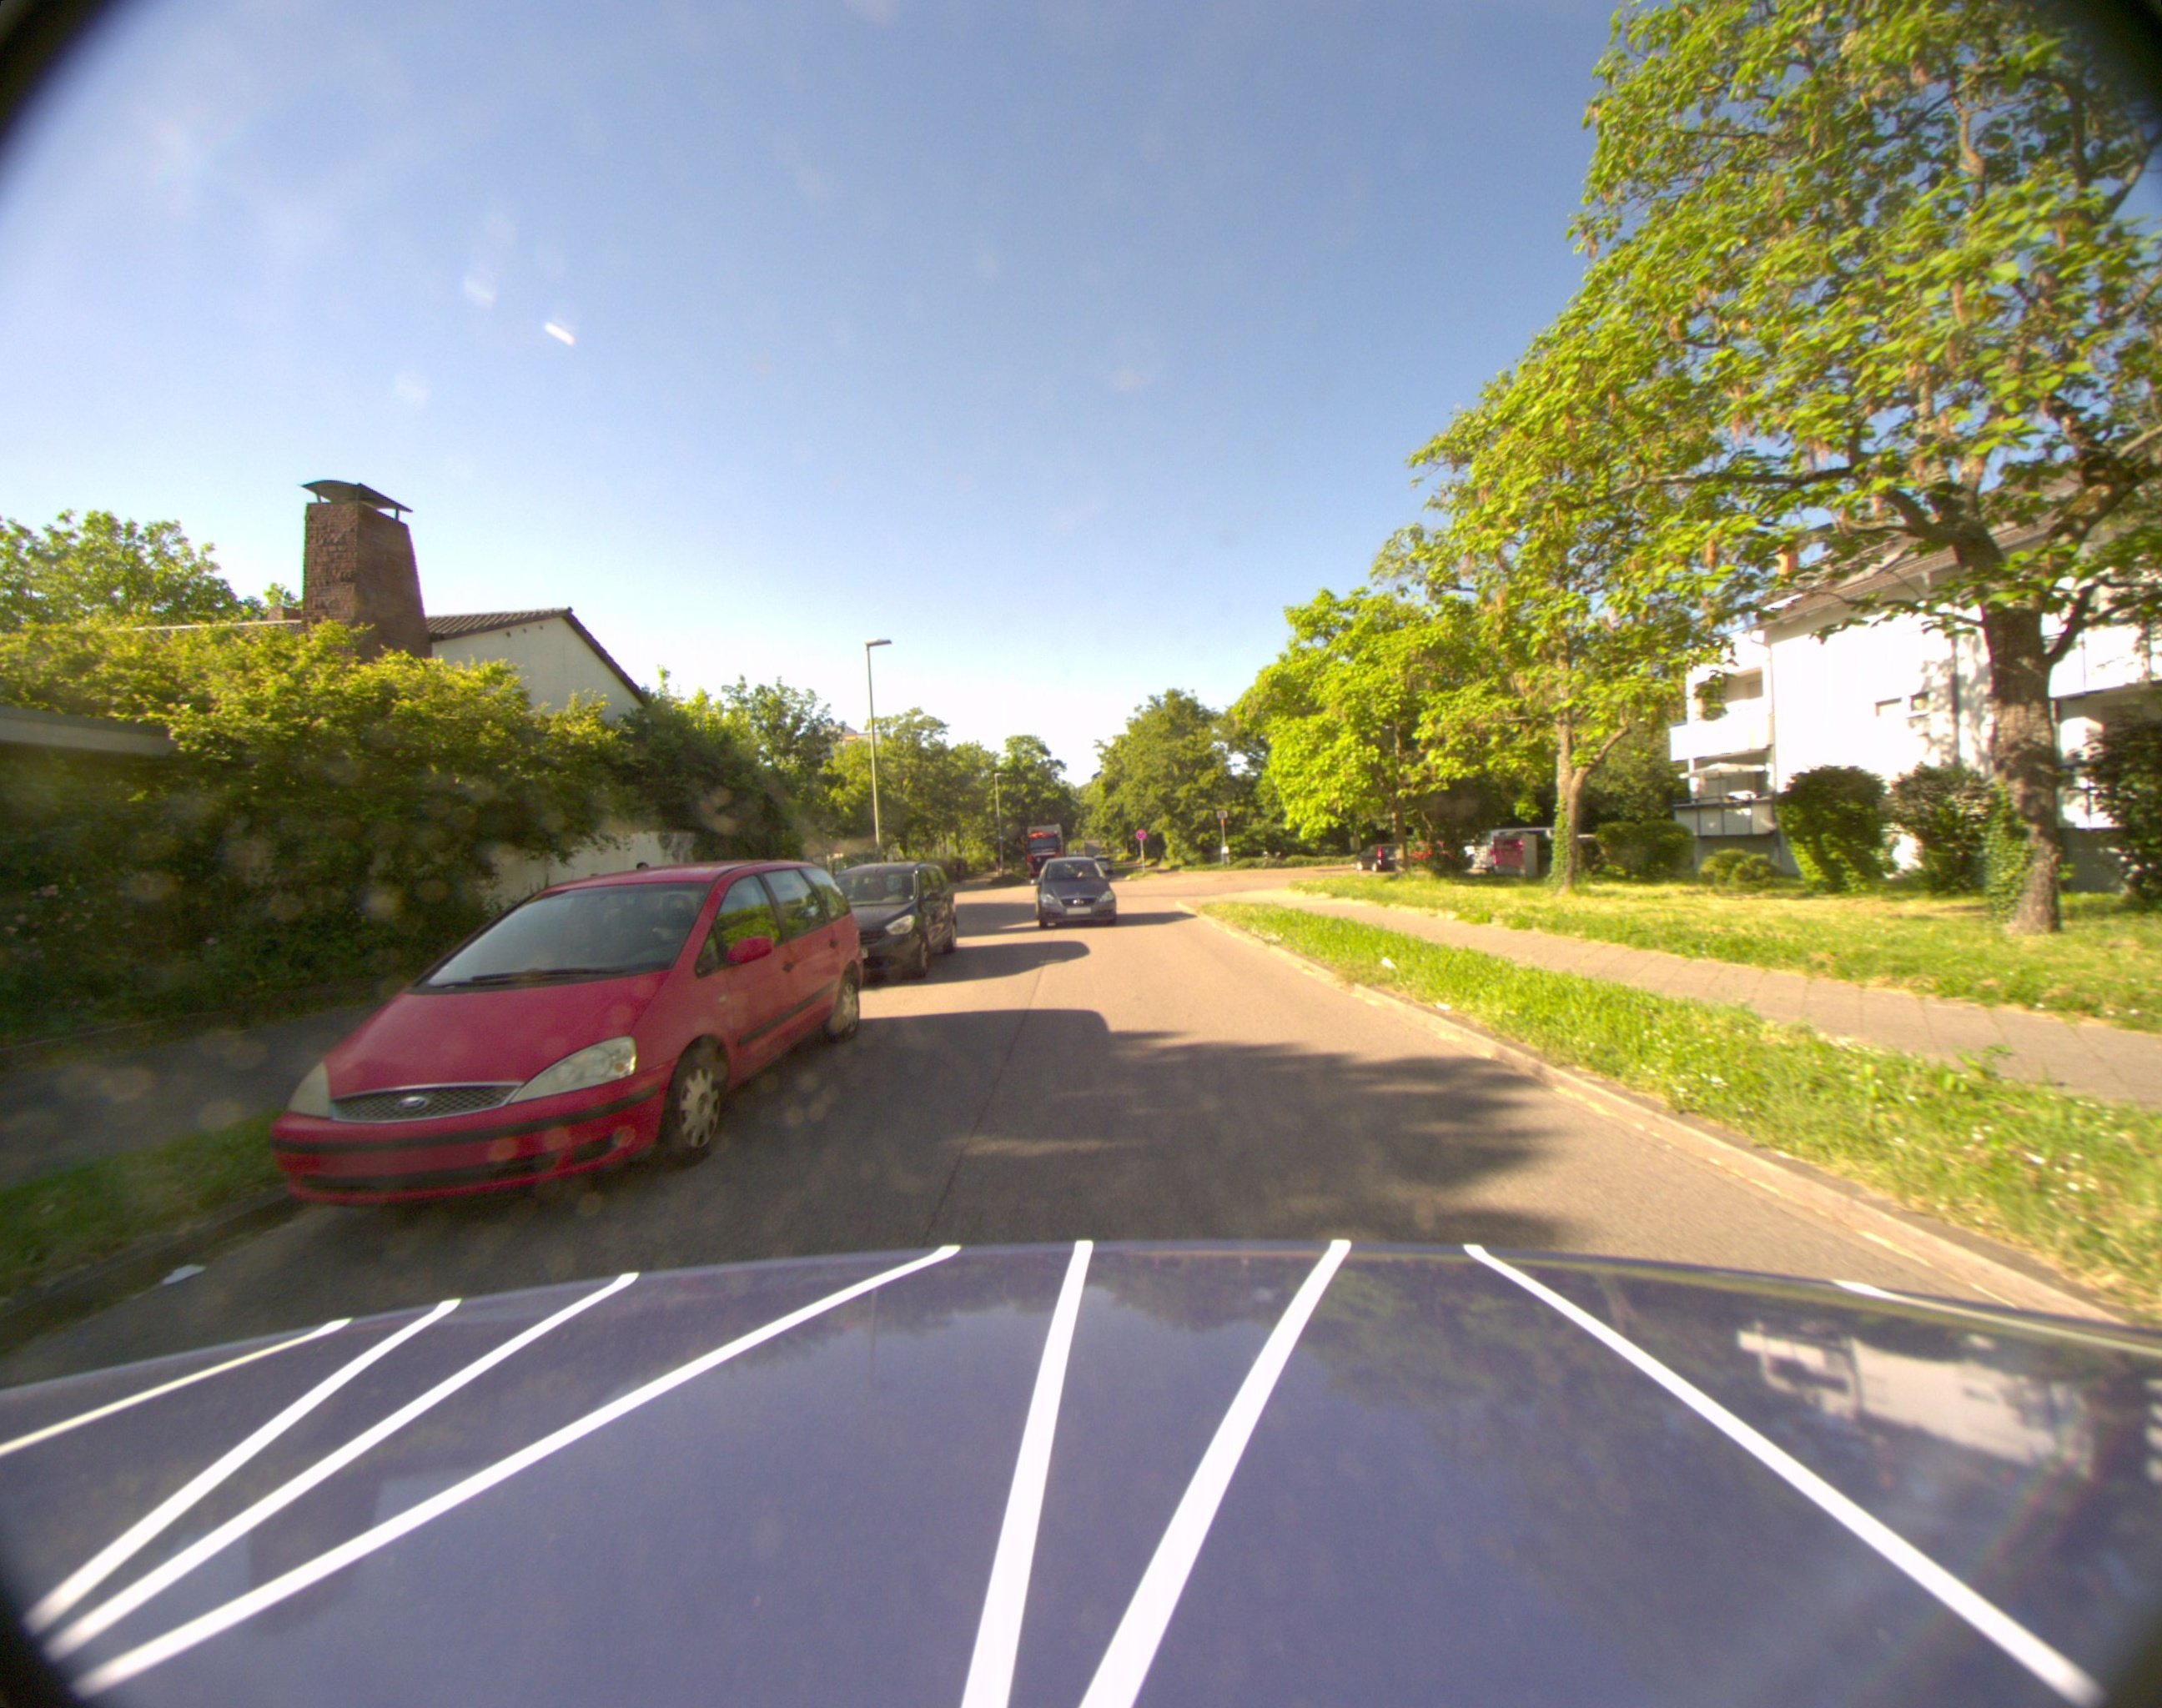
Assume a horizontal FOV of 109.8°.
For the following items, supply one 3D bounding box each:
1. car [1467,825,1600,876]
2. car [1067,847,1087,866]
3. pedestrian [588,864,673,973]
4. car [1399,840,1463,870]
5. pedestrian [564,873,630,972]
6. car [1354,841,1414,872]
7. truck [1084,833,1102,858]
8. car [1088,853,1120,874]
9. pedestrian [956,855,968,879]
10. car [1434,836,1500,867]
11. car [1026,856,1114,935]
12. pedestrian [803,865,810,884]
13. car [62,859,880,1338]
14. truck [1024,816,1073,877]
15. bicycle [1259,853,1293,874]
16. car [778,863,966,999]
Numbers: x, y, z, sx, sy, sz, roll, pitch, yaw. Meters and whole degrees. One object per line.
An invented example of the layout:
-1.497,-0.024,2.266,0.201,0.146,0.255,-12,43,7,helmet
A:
19.500,-0.147,32.921,4.461,1.957,2.069,-2,0,3,car
-0.447,0.263,77.934,1.845,1.795,4.028,-3,1,-1,car
-7.517,1.049,12.737,0.806,1.707,0.983,-1,2,-3,pedestrian
19.213,0.000,41.860,1.674,1.479,3.884,-3,2,-1,car
-8.225,1.140,12.931,0.574,1.600,0.792,-1,2,-3,pedestrian
16.598,0.098,41.866,1.674,1.479,3.884,-3,2,-1,car
1.888,-1.464,124.709,2.803,3.996,9.623,-1,2,1,truck
1.750,0.695,58.745,1.667,1.458,4.184,-1,2,-9,car
-8.216,0.909,52.598,0.641,1.629,0.641,-3,1,3,pedestrian
21.563,-0.189,42.601,1.674,1.594,3.884,-3,2,-1,car
-0.247,0.914,18.497,1.855,1.635,3.755,-3,0,0,car
-23.002,1.700,63.645,0.320,1.527,0.393,-3,1,-4,pedestrian
-3.039,0.995,5.339,1.845,1.795,4.653,-3,0,1,car
-2.446,-0.595,60.864,3.166,4.320,10.582,-3,1,1,truck
11.988,0.602,46.759,1.903,1.146,0.760,-2,4,10,bicycle
-3.050,1.029,12.090,1.729,1.647,4.352,-3,0,0,car
